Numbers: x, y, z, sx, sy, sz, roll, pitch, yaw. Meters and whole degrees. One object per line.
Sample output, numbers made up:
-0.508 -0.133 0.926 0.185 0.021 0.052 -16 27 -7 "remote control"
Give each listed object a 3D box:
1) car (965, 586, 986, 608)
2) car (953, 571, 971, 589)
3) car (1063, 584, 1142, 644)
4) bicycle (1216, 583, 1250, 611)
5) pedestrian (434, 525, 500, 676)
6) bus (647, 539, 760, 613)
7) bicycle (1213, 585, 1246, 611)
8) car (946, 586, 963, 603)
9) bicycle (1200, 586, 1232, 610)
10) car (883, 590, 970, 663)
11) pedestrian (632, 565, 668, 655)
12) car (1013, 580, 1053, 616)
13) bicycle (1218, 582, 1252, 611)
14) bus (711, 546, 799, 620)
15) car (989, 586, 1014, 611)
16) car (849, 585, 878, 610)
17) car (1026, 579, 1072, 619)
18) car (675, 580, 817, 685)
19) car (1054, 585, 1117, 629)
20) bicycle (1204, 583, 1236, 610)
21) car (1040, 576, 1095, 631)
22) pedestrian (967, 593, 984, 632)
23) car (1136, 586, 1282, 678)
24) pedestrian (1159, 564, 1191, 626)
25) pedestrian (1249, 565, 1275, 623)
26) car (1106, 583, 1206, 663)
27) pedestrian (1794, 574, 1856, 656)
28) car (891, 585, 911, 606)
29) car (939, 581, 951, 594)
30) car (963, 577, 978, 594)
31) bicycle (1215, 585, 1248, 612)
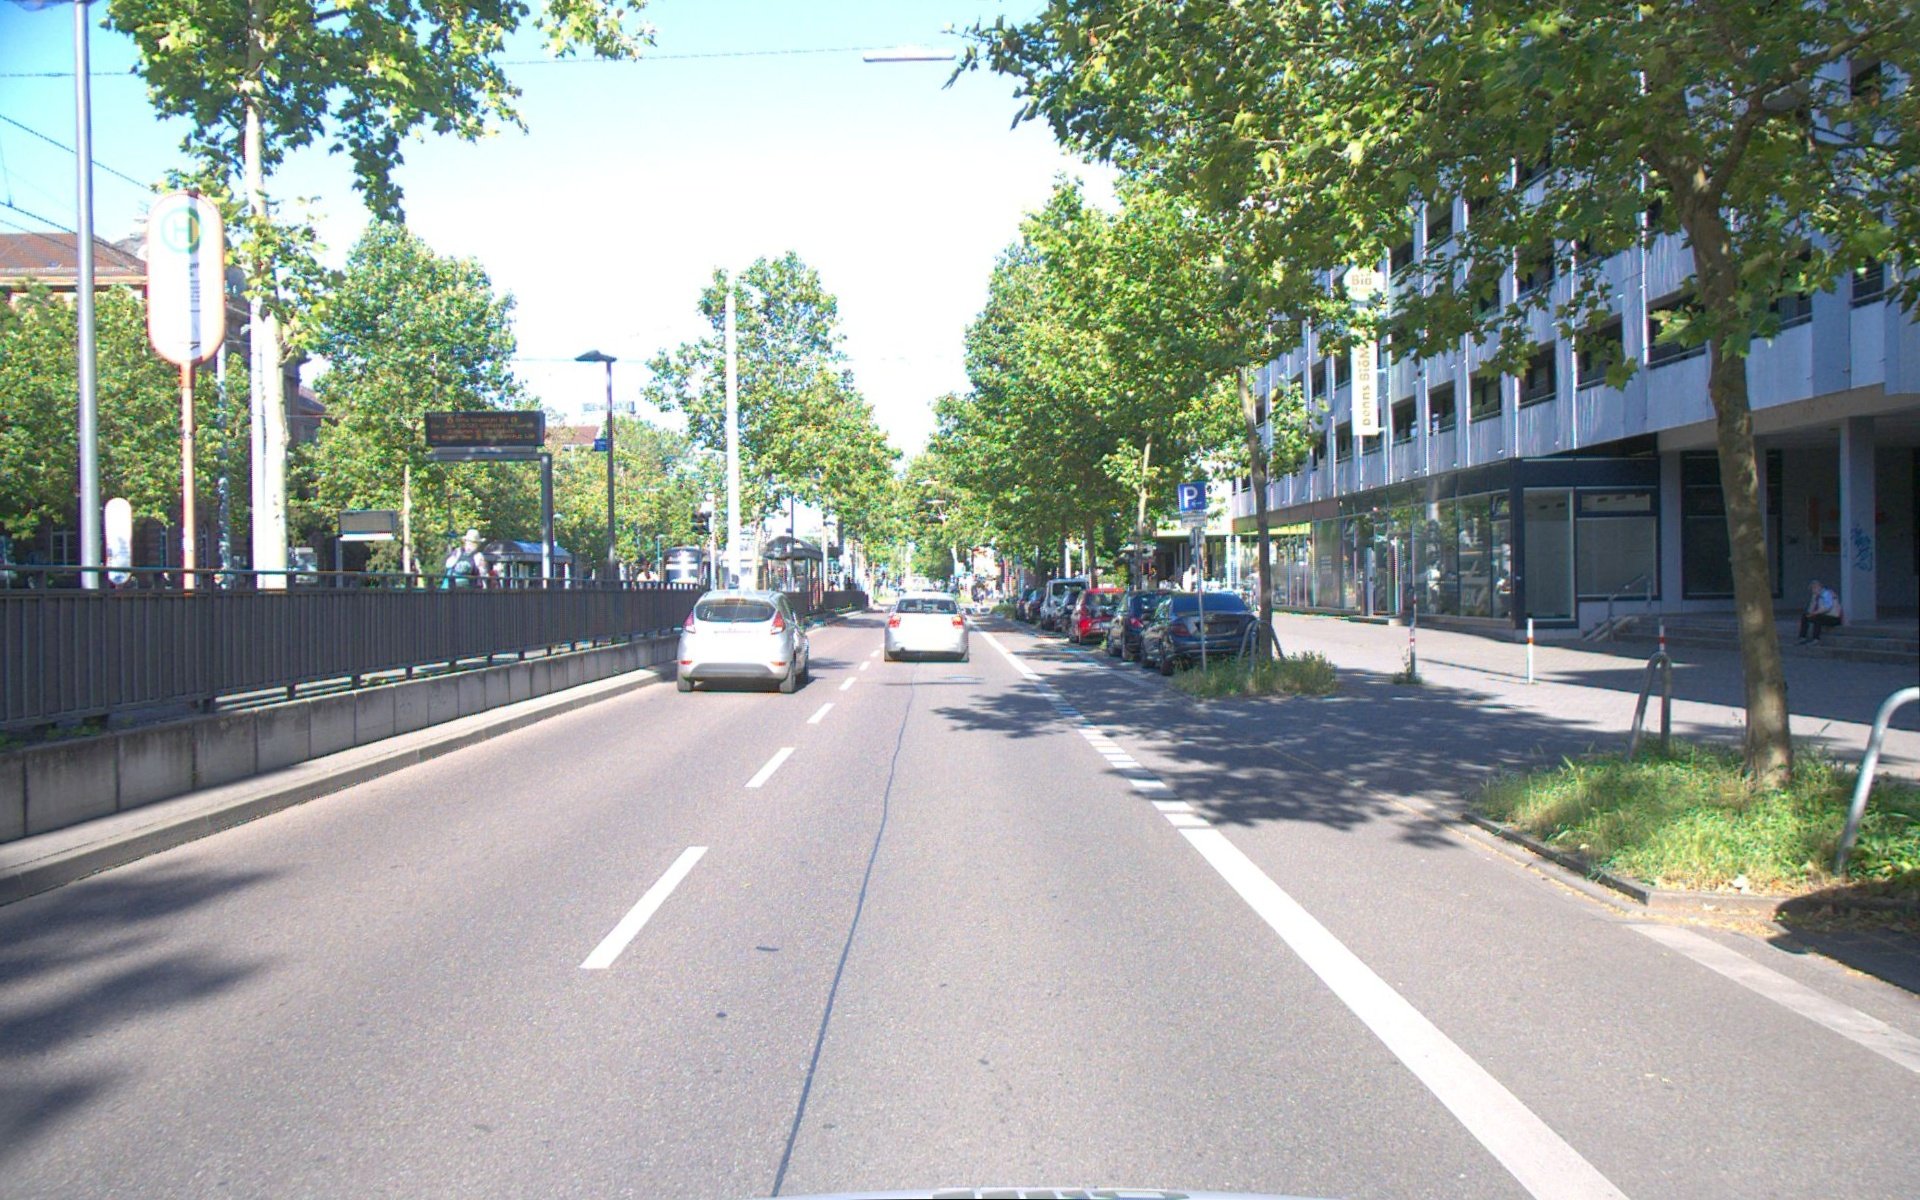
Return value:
1.490 -0.288 160.996 1.953 2.048 4.000 1 1 -1 "car"
0.203 -2.377 194.831 1.953 2.049 3.999 -1 0 -1 "car"
3.894 0.376 45.708 1.769 1.547 3.999 1 0 -1 "car"
11.402 -0.122 69.113 1.355 1.168 0.243 1 1 -2 "bicycle"
-6.614 0.000 22.213 0.626 1.988 0.813 1 1 -1 "pedestrian"
-14.365 -1.363 95.320 2.810 3.692 24.602 0 1 0 "bus"
11.366 -0.093 69.737 1.355 1.077 0.243 1 1 -2 "bicycle"
-0.677 -0.727 206.991 2.029 2.049 4.000 -1 0 -1 "car"
11.143 -0.084 72.046 1.355 1.030 0.243 1 1 -2 "bicycle"
-0.712 0.517 35.049 1.726 1.457 3.999 0 0 -1 "car"
-6.969 0.222 37.208 0.626 1.988 0.813 1 1 -1 "pedestrian"
3.418 -0.113 77.581 1.666 1.561 3.716 1 1 -1 "car"
11.434 -0.142 68.795 1.355 1.168 0.243 1 1 -2 "bicycle"
-11.170 -0.966 92.224 2.694 3.689 18.846 0 1 0 "bus"
3.178 -0.103 126.565 1.772 1.822 3.911 1 1 -1 "car"
-7.493 -0.222 128.801 1.953 1.848 4.000 1 1 -1 "car"
3.753 -0.072 70.418 1.676 1.590 4.000 1 1 -1 "car"
-3.111 0.425 24.656 1.613 1.386 3.760 1 1 0 "car"
4.143 0.230 55.266 1.744 1.405 3.999 1 0 -1 "car"
11.228 -0.157 71.462 1.355 1.117 0.243 1 1 -2 "bicycle"
3.944 0.110 61.257 1.689 1.913 4.000 1 0 -1 "car"
0.817 0.669 89.523 0.820 2.049 0.649 1 1 6 "pedestrian"
4.482 0.550 30.444 1.953 1.535 4.597 1 0 -1 "car"
7.169 -0.163 55.204 0.944 2.049 0.938 -1 0 -1 "pedestrian"
10.824 -0.230 59.275 0.772 2.049 0.891 -1 0 0 "pedestrian"
4.172 0.449 35.701 1.635 1.578 4.000 1 1 0 "car"
15.070 0.253 28.823 0.703 1.381 0.743 1 1 6 "pedestrian"
-6.105 -0.491 170.712 1.953 2.048 4.000 1 1 -1 "car"
-2.333 -1.952 258.332 1.953 2.048 4.000 1 1 -1 "car"
1.358 -1.916 217.890 1.837 2.048 3.711 1 1 -1 "car"
11.389 -0.066 69.418 1.355 1.074 0.243 1 1 -2 "bicycle"
